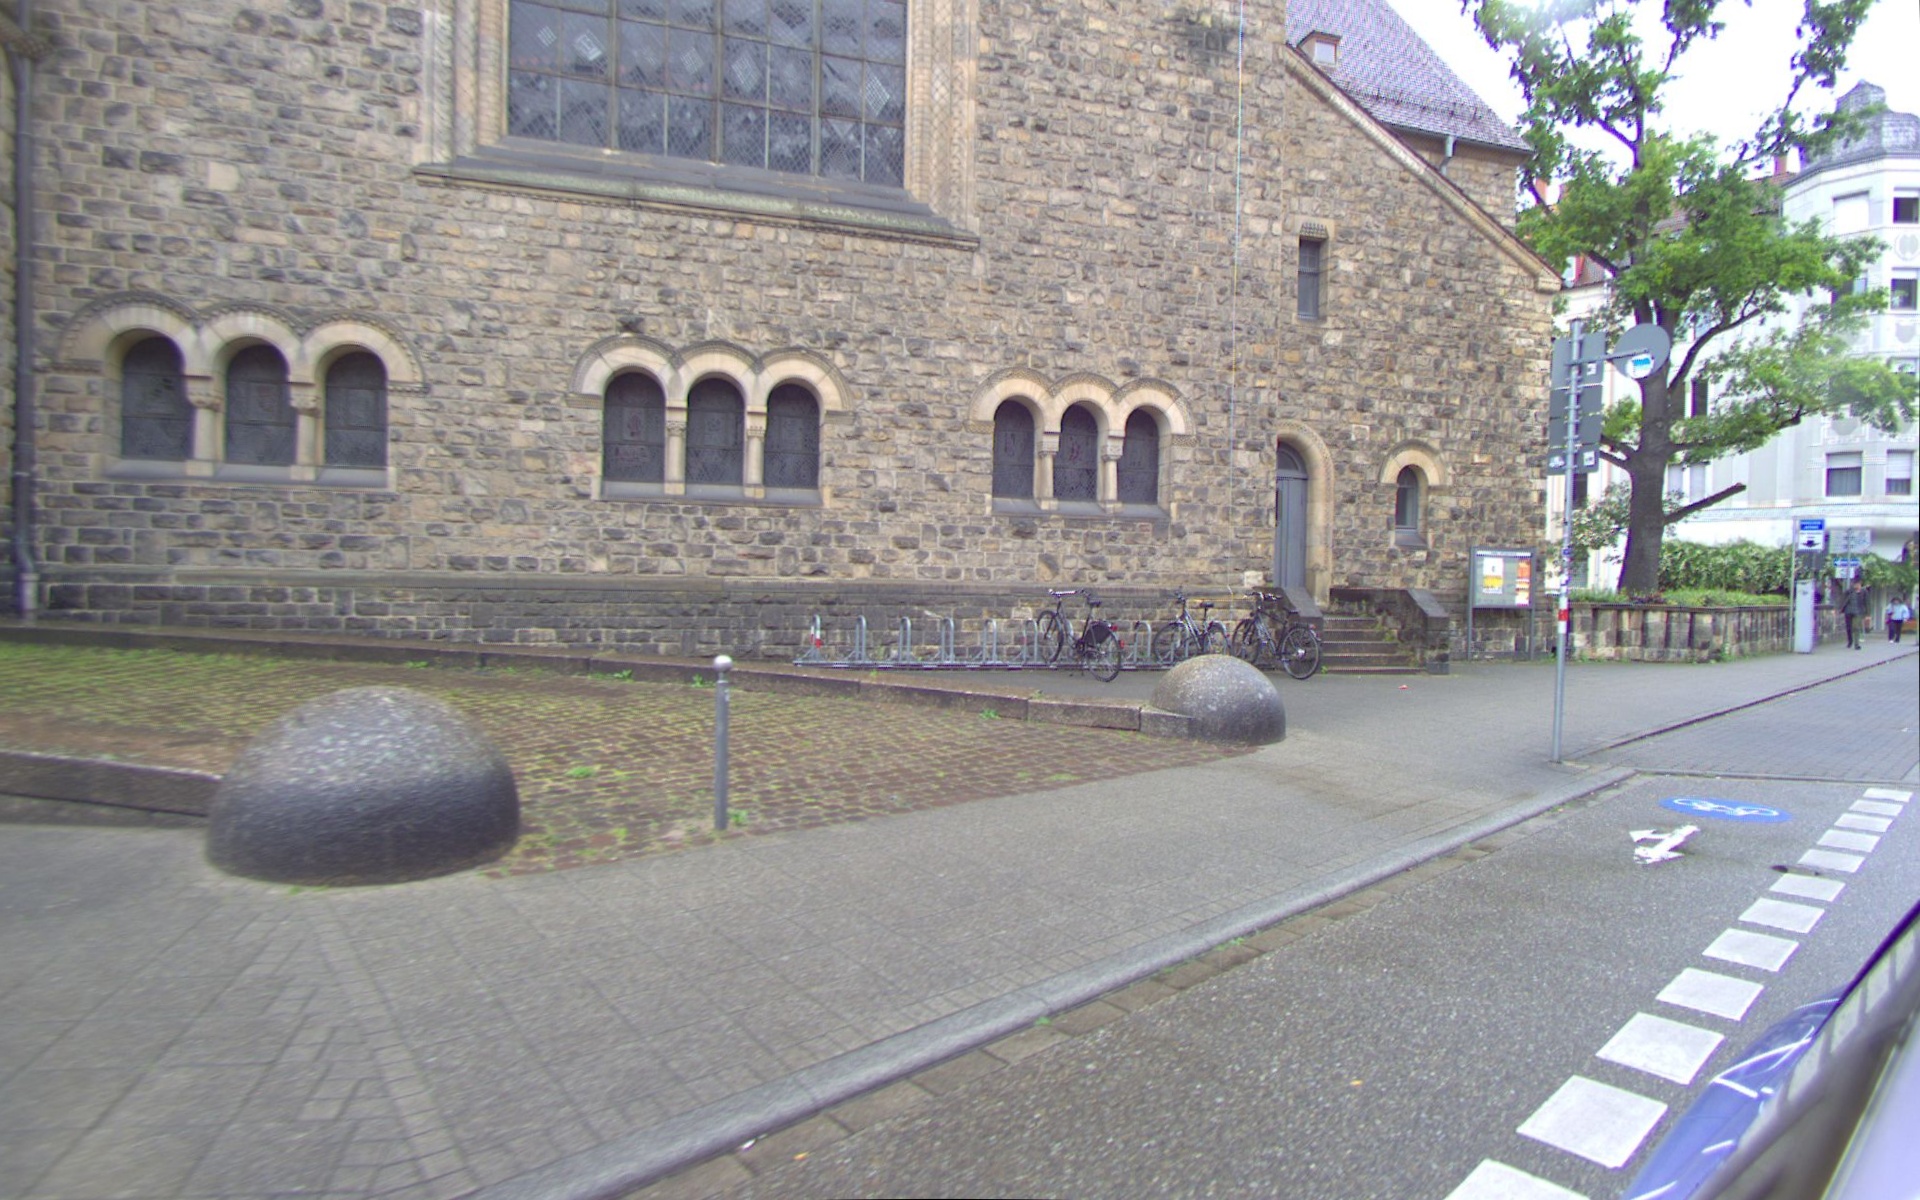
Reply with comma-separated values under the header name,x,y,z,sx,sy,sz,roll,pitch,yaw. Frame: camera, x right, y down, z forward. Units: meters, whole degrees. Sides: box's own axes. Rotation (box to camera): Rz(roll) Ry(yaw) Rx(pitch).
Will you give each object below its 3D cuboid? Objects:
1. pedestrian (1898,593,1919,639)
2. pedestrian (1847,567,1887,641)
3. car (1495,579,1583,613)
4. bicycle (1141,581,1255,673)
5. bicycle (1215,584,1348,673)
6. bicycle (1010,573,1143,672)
name,x,y,z,sx,sy,sz,roll,pitch,yaw
pedestrian,30.922,0.512,32.927,0.385,1.479,0.482,1,2,-41
pedestrian,23.898,0.096,26.663,0.681,1.896,0.645,0,2,-41
car,27.186,-0.201,47.599,1.421,1.426,3.272,0,2,-38
bicycle,3.287,0.335,14.140,0.550,1.125,1.718,0,3,-26
bicycle,4.470,0.354,14.236,0.502,1.067,1.995,0,3,-26
bicycle,1.470,0.247,13.218,0.677,1.118,1.994,0,3,-29
